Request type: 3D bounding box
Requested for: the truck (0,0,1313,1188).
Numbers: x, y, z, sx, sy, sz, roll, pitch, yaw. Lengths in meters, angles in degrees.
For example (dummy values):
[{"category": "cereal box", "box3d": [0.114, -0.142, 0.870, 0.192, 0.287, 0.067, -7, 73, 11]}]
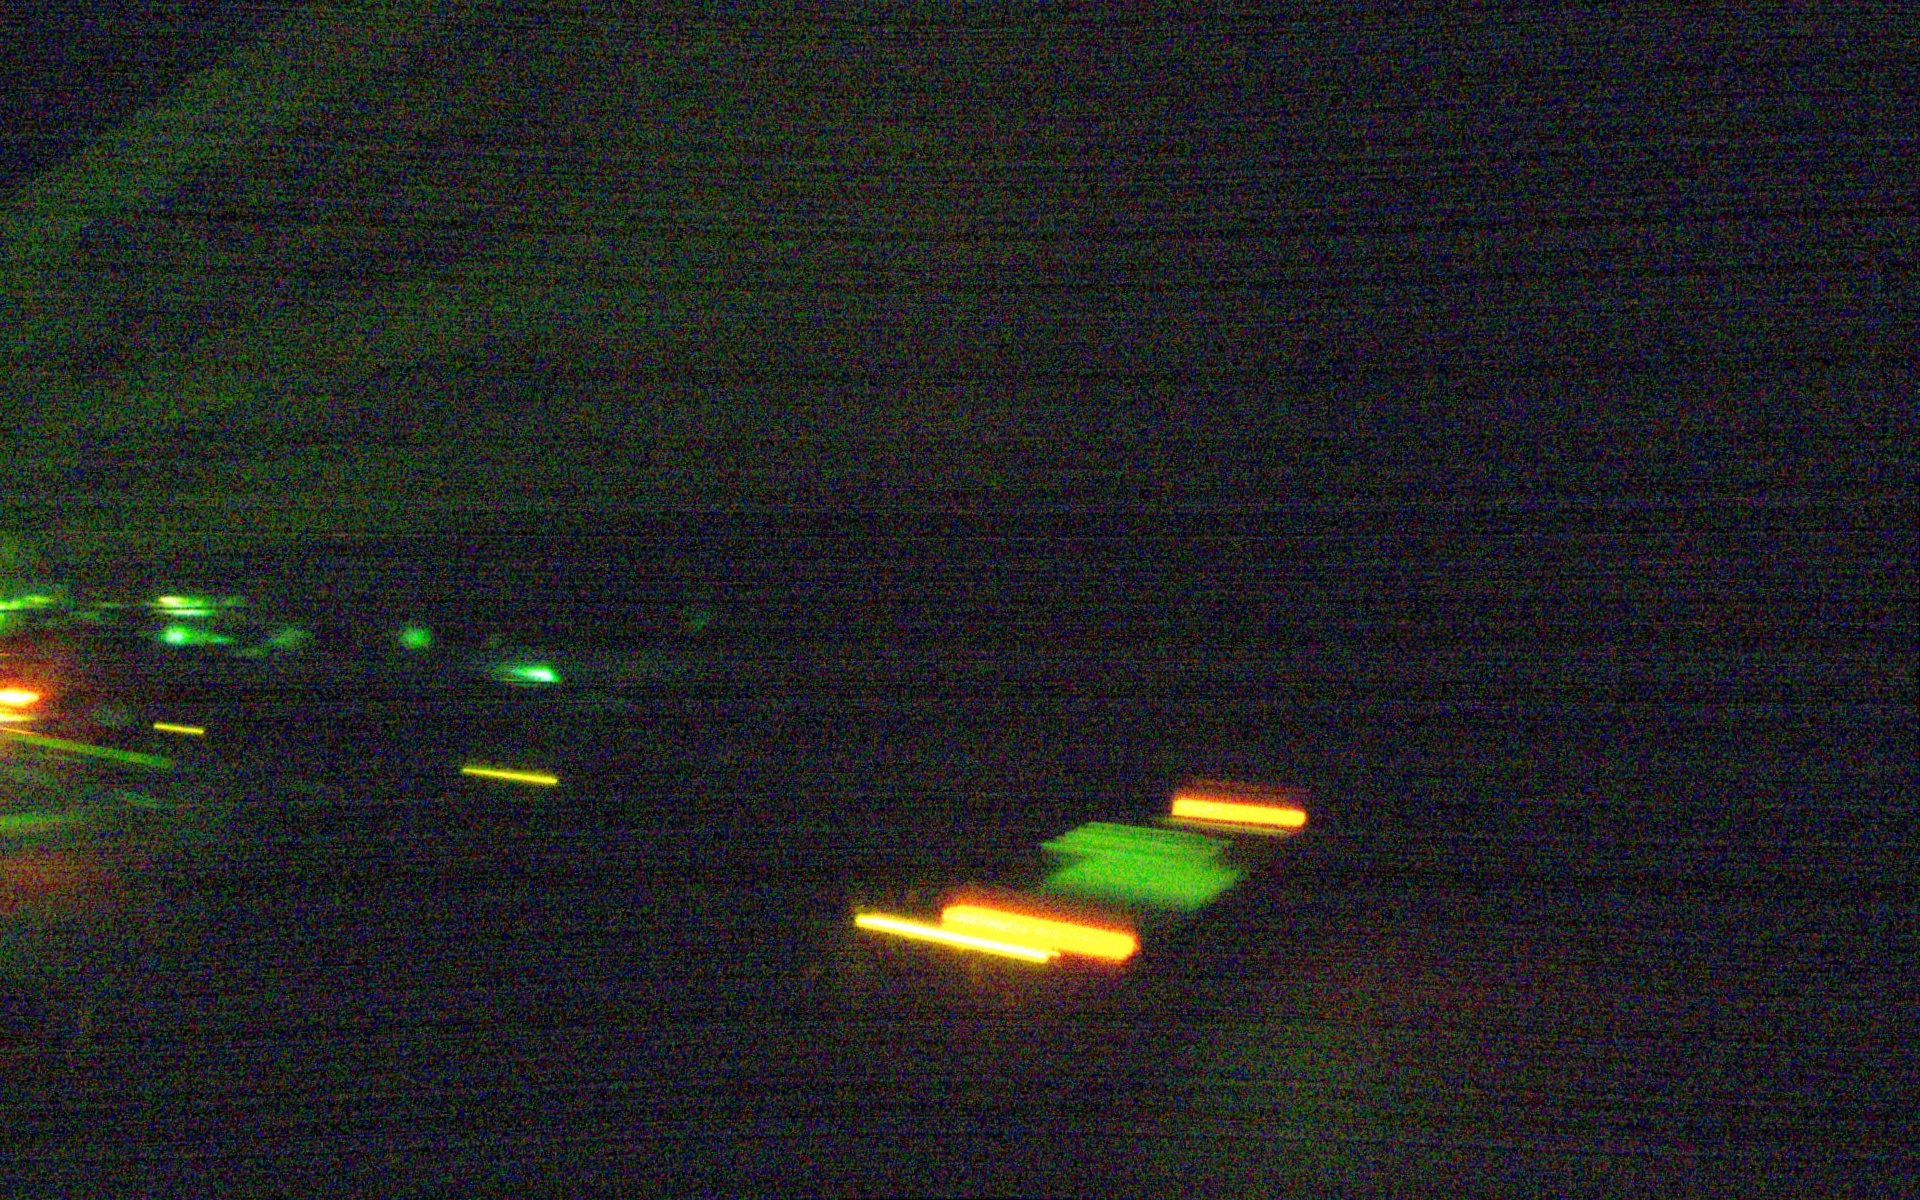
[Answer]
[{"category": "truck", "box3d": [-6.907, -0.712, 8.535, 18.442, 4.187, 3.477, -1, -2, 33]}]
